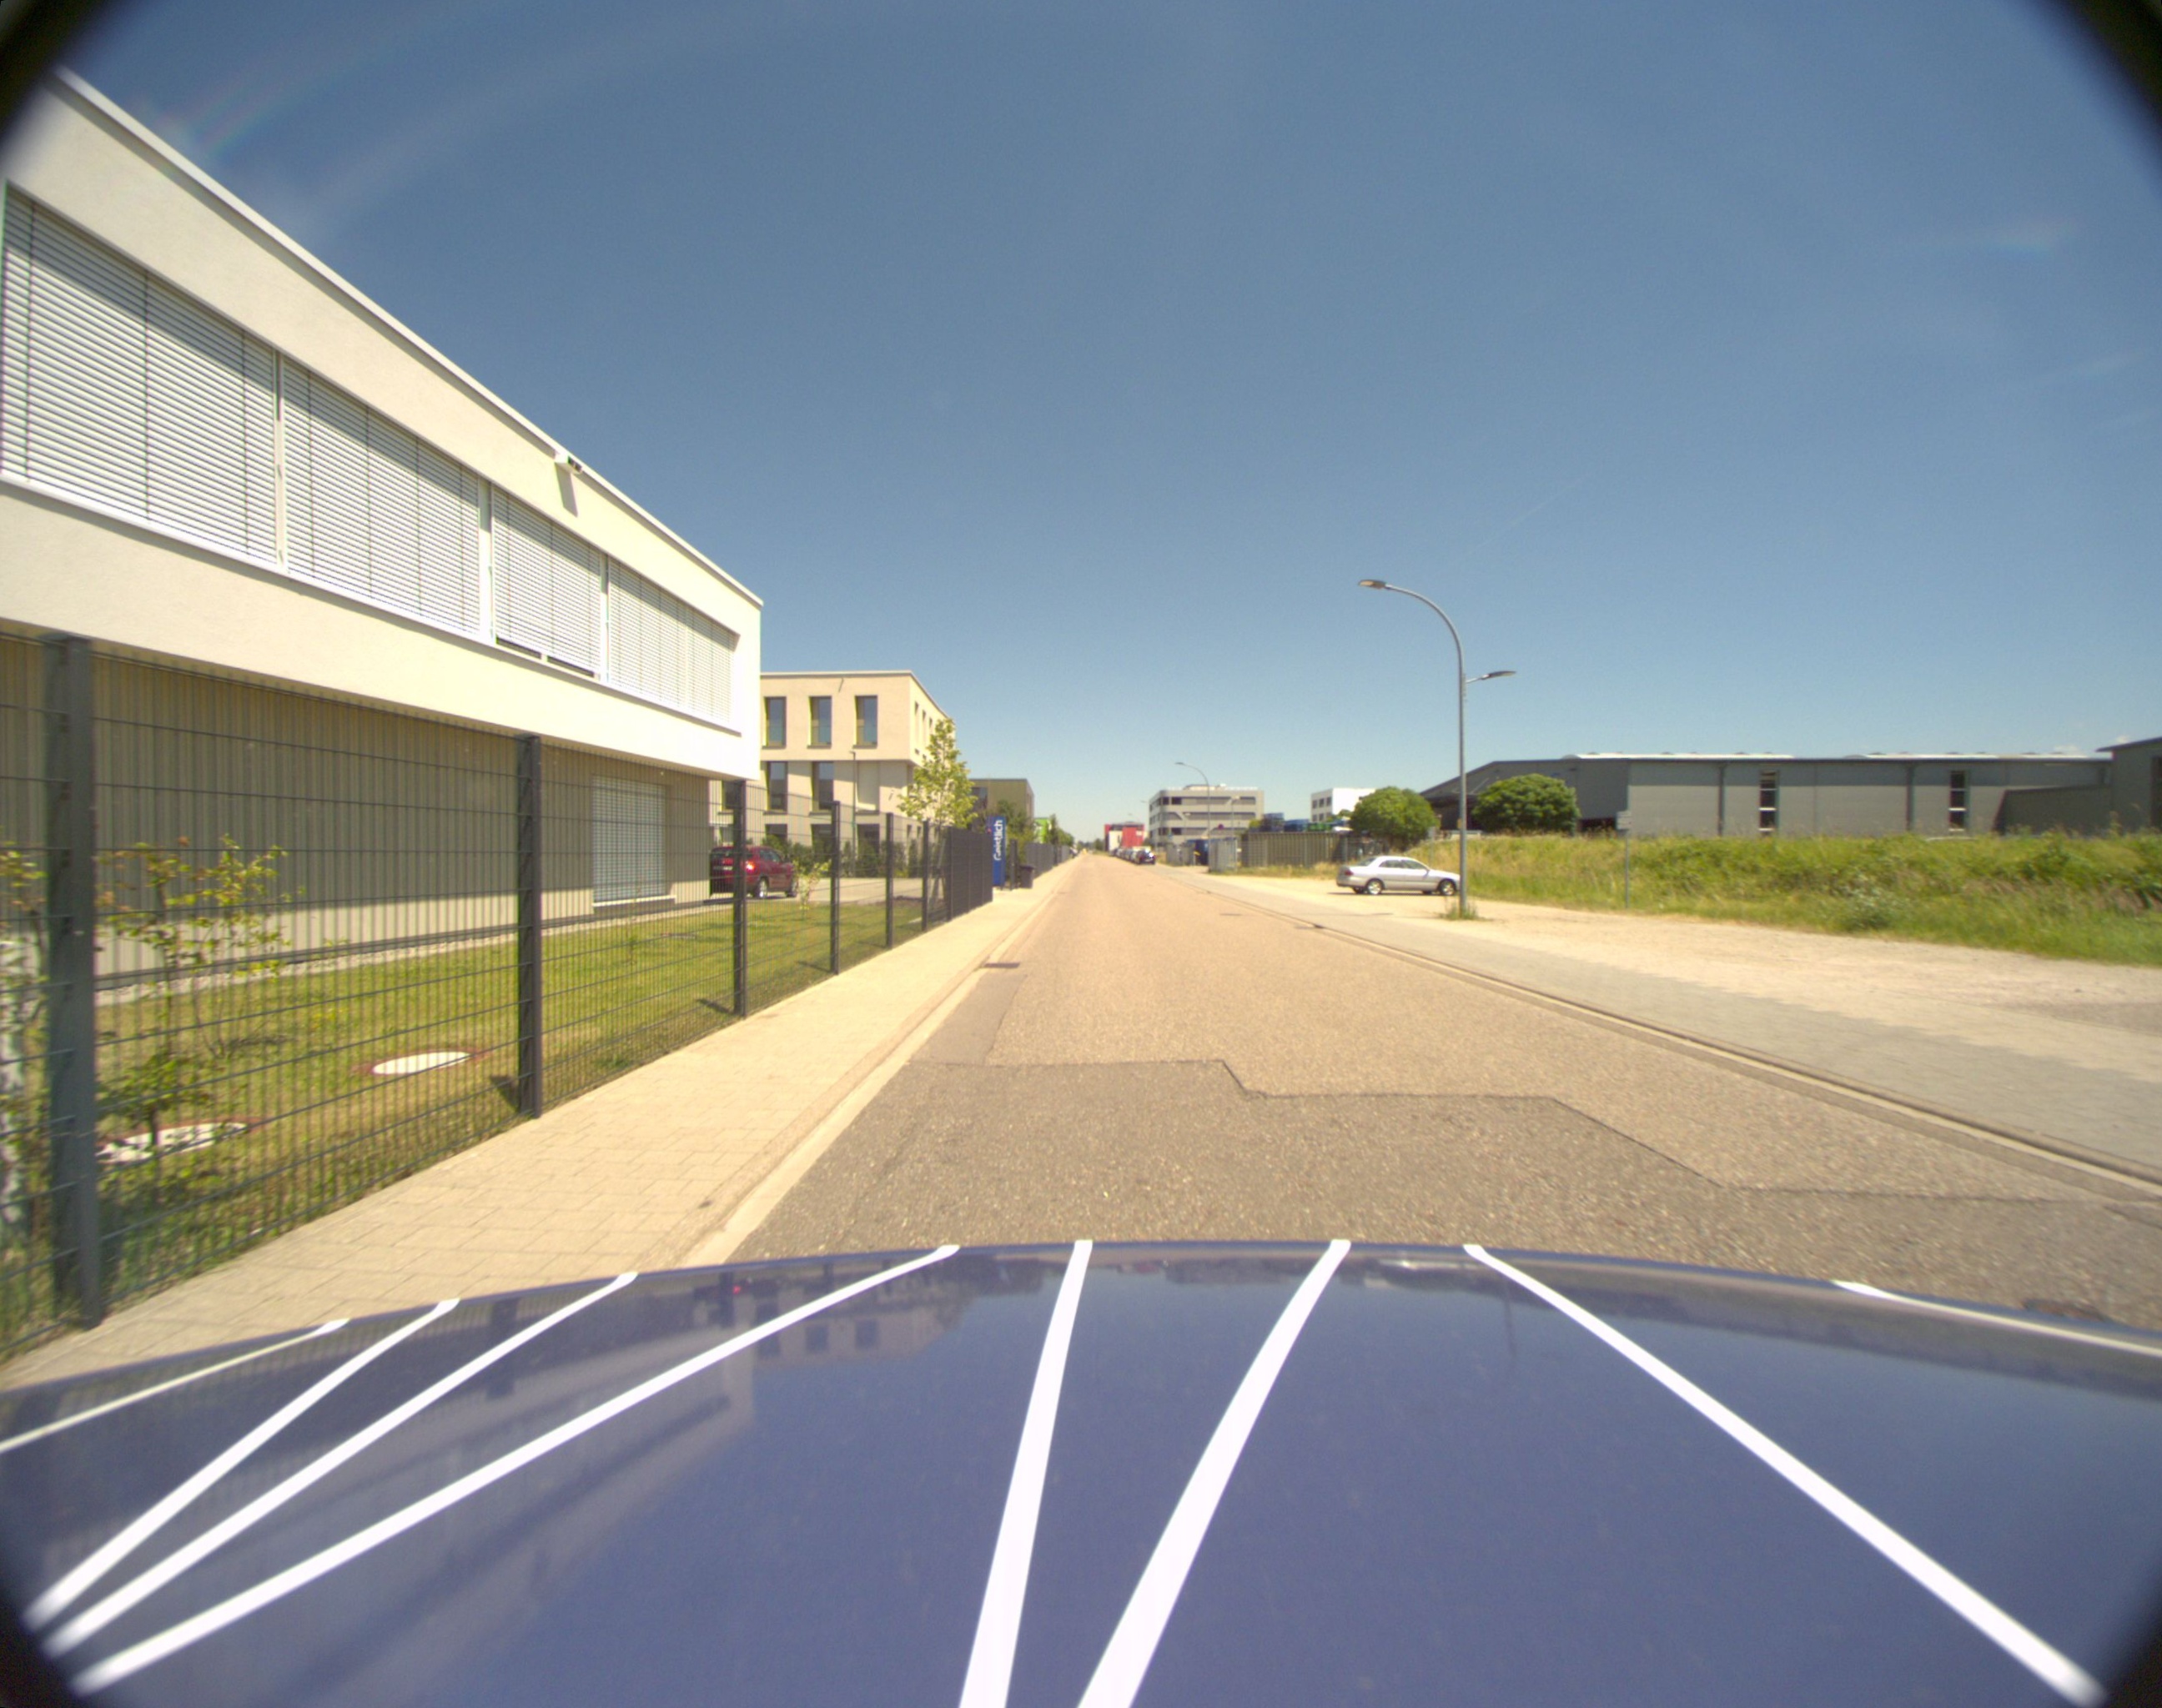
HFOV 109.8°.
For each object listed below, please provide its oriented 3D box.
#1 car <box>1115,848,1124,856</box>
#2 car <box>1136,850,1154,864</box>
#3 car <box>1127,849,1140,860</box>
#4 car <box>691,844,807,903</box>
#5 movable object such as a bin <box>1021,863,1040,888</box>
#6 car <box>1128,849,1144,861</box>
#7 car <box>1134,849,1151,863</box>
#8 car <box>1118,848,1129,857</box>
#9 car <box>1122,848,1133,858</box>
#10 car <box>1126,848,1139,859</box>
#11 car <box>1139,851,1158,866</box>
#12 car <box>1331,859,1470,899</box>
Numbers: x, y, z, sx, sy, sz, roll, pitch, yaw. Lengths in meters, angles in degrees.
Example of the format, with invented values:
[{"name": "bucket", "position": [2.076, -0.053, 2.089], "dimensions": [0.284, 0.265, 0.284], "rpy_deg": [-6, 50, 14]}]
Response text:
[{"name": "car", "position": [8.136, -0.408, 162.744], "dimensions": [1.772, 1.521, 3.777], "rpy_deg": [-2, 1, 1]}, {"name": "car", "position": [7.222, 0.302, 86.531], "dimensions": [1.772, 1.521, 3.777], "rpy_deg": [-2, 1, 1]}, {"name": "car", "position": [7.650, 0.021, 111.401], "dimensions": [1.659, 1.573, 3.777], "rpy_deg": [-2, 1, 1]}, {"name": "car", "position": [-9.396, 0.549, 21.874], "dimensions": [1.673, 1.548, 4.078], "rpy_deg": [0, -1, -2]}, {"name": "movable object such as a bin", "position": [-2.218, 0.938, 33.399], "dimensions": [0.749, 1.042, 0.698], "rpy_deg": [1, 1, 1]}, {"name": "car", "position": [7.246, 0.120, 100.448], "dimensions": [1.772, 1.462, 3.777], "rpy_deg": [-3, 1, 1]}, {"name": "car", "position": [7.372, 0.232, 91.782], "dimensions": [1.772, 1.521, 3.777], "rpy_deg": [-2, 1, 1]}, {"name": "car", "position": [7.993, -0.265, 142.696], "dimensions": [1.772, 1.521, 3.777], "rpy_deg": [-2, 1, 1]}, {"name": "car", "position": [7.956, -0.160, 130.186], "dimensions": [1.772, 1.521, 3.777], "rpy_deg": [-2, 1, 1]}, {"name": "car", "position": [7.872, -0.083, 116.201], "dimensions": [1.772, 1.521, 3.777], "rpy_deg": [-2, 1, 1]}, {"name": "car", "position": [7.137, 0.480, 80.525], "dimensions": [1.695, 1.481, 3.660], "rpy_deg": [-2, 1, 1]}, {"name": "car", "position": [11.499, 0.881, 27.573], "dimensions": [4.256, 1.371, 1.862], "rpy_deg": [0, 1, 2]}]
